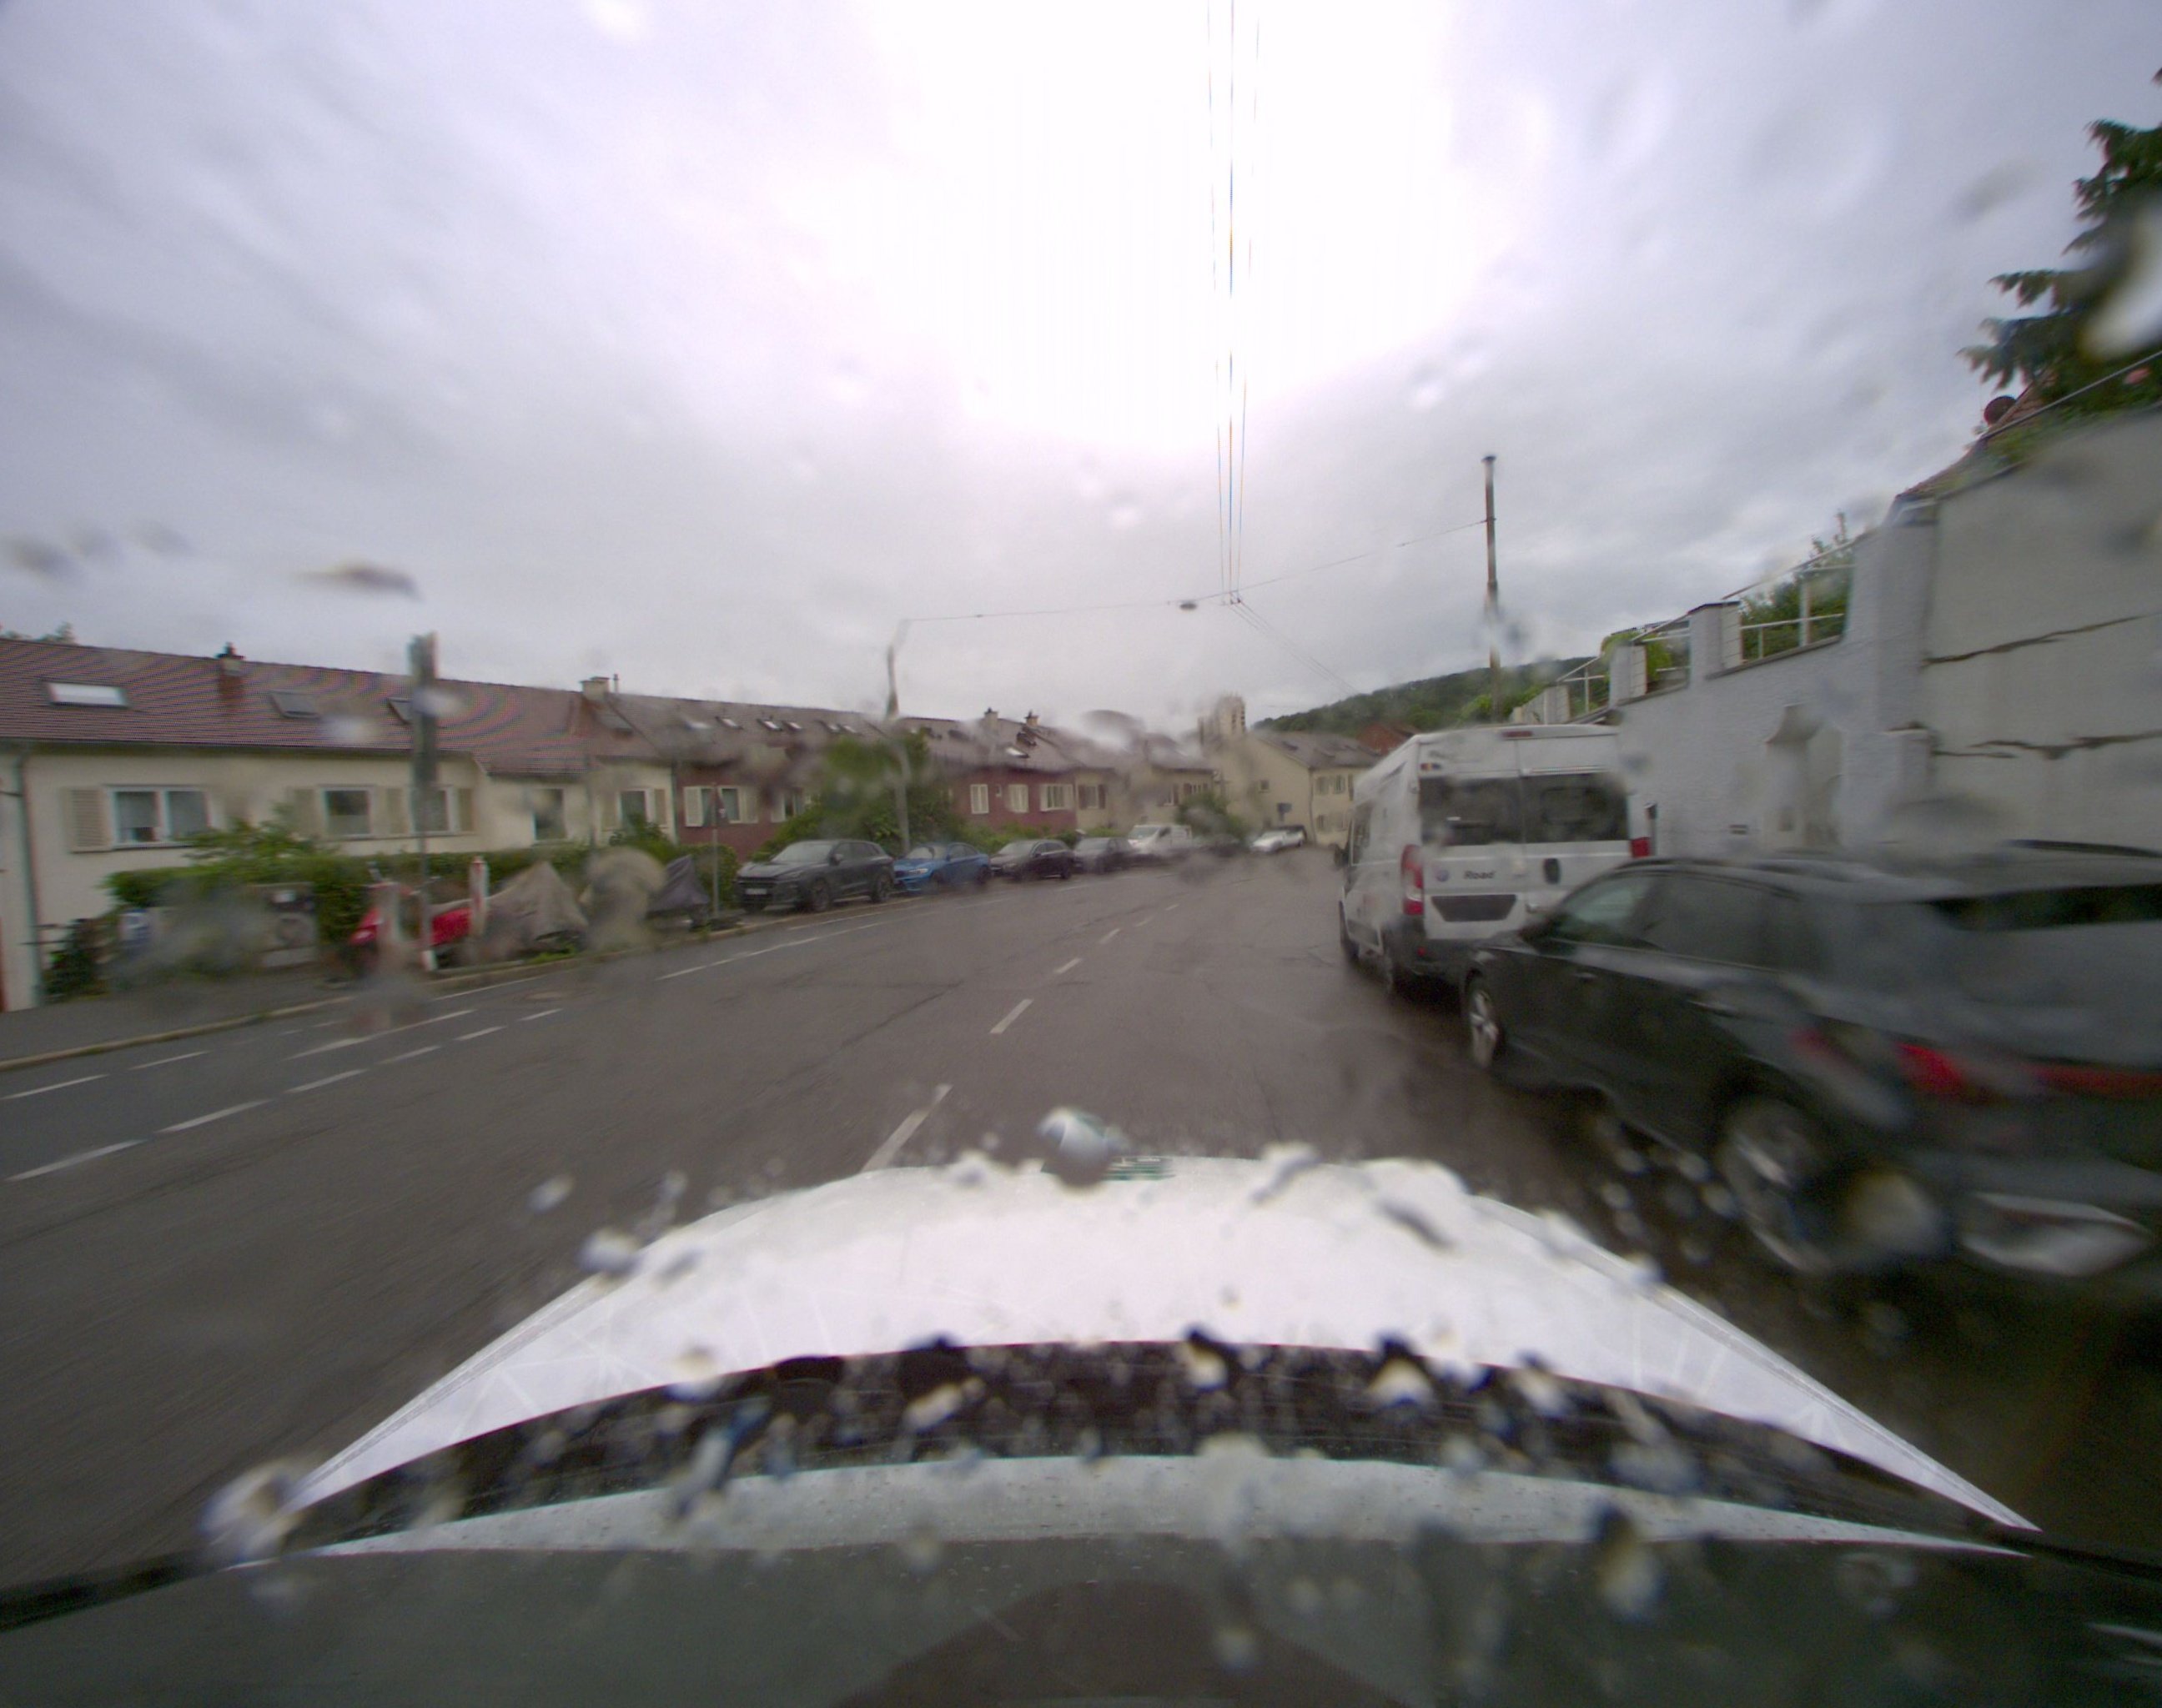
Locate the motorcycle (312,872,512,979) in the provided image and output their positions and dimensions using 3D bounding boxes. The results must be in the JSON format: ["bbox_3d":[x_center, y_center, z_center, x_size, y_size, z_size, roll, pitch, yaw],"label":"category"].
[{"bbox_3d":[-8.610,0.883,10.607,0.505,1.140,1.933,-4,1,22],"label":"motorcycle"}]

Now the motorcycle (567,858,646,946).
[{"bbox_3d":[-7.779,0.737,13.314,1.785,1.303,0.617,1,2,44],"label":"motorcycle"}]

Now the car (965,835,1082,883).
[{"bbox_3d":[-1.914,0.115,28.697,1.791,1.476,4.551,0,2,31],"label":"car"}]

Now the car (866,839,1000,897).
[{"bbox_3d":[-4.158,0.318,23.707,1.684,1.404,4.497,0,2,22],"label":"car"}]

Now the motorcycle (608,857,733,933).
[{"bbox_3d":[-7.404,0.727,14.774,1.904,1.271,0.572,-1,2,-16],"label":"motorcycle"}]

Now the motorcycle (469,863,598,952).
[{"bbox_3d":[-8.254,0.799,12.272,1.788,1.279,0.513,-1,1,15],"label":"motorcycle"}]

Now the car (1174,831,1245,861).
[{"bbox_3d":[6.954,-0.454,43.747,1.790,1.476,4.551,0,2,38],"label":"car"}]

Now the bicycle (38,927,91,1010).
[{"bbox_3d":[-13.712,1.550,10.979,1.287,1.035,0.307,-7,-4,32],"label":"bicycle"}]

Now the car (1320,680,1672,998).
[{"bbox_3d":[4.248,-0.108,9.593,2.085,2.542,5.637,-3,0,11],"label":"car"}]

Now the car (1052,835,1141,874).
[{"bbox_3d":[0.730,-0.026,33.677,1.791,1.476,4.550,0,2,28],"label":"car"}]

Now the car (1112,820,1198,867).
[{"bbox_3d":[3.606,-0.550,38.783,1.830,2.078,5.053,0,2,34],"label":"car"}]

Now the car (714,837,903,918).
[{"bbox_3d":[-6.100,0.437,18.873,1.906,1.576,4.408,0,2,17],"label":"car"}]

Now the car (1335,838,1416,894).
[{"bbox_3d":[8.901,0.297,24.385,1.662,1.483,4.227,0,1,28],"label":"car"}]

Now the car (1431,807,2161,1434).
[{"bbox_3d":[3.322,0.612,4.015,1.744,1.495,4.192,-3,0,7],"label":"car"}]

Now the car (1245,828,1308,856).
[{"bbox_3d":[12.090,-0.783,50.174,1.910,1.631,4.708,0,2,39],"label":"car"}]

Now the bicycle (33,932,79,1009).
[{"bbox_3d":[-14.841,1.698,11.785,1.311,1.035,0.307,-8,-5,34],"label":"bicycle"}]
